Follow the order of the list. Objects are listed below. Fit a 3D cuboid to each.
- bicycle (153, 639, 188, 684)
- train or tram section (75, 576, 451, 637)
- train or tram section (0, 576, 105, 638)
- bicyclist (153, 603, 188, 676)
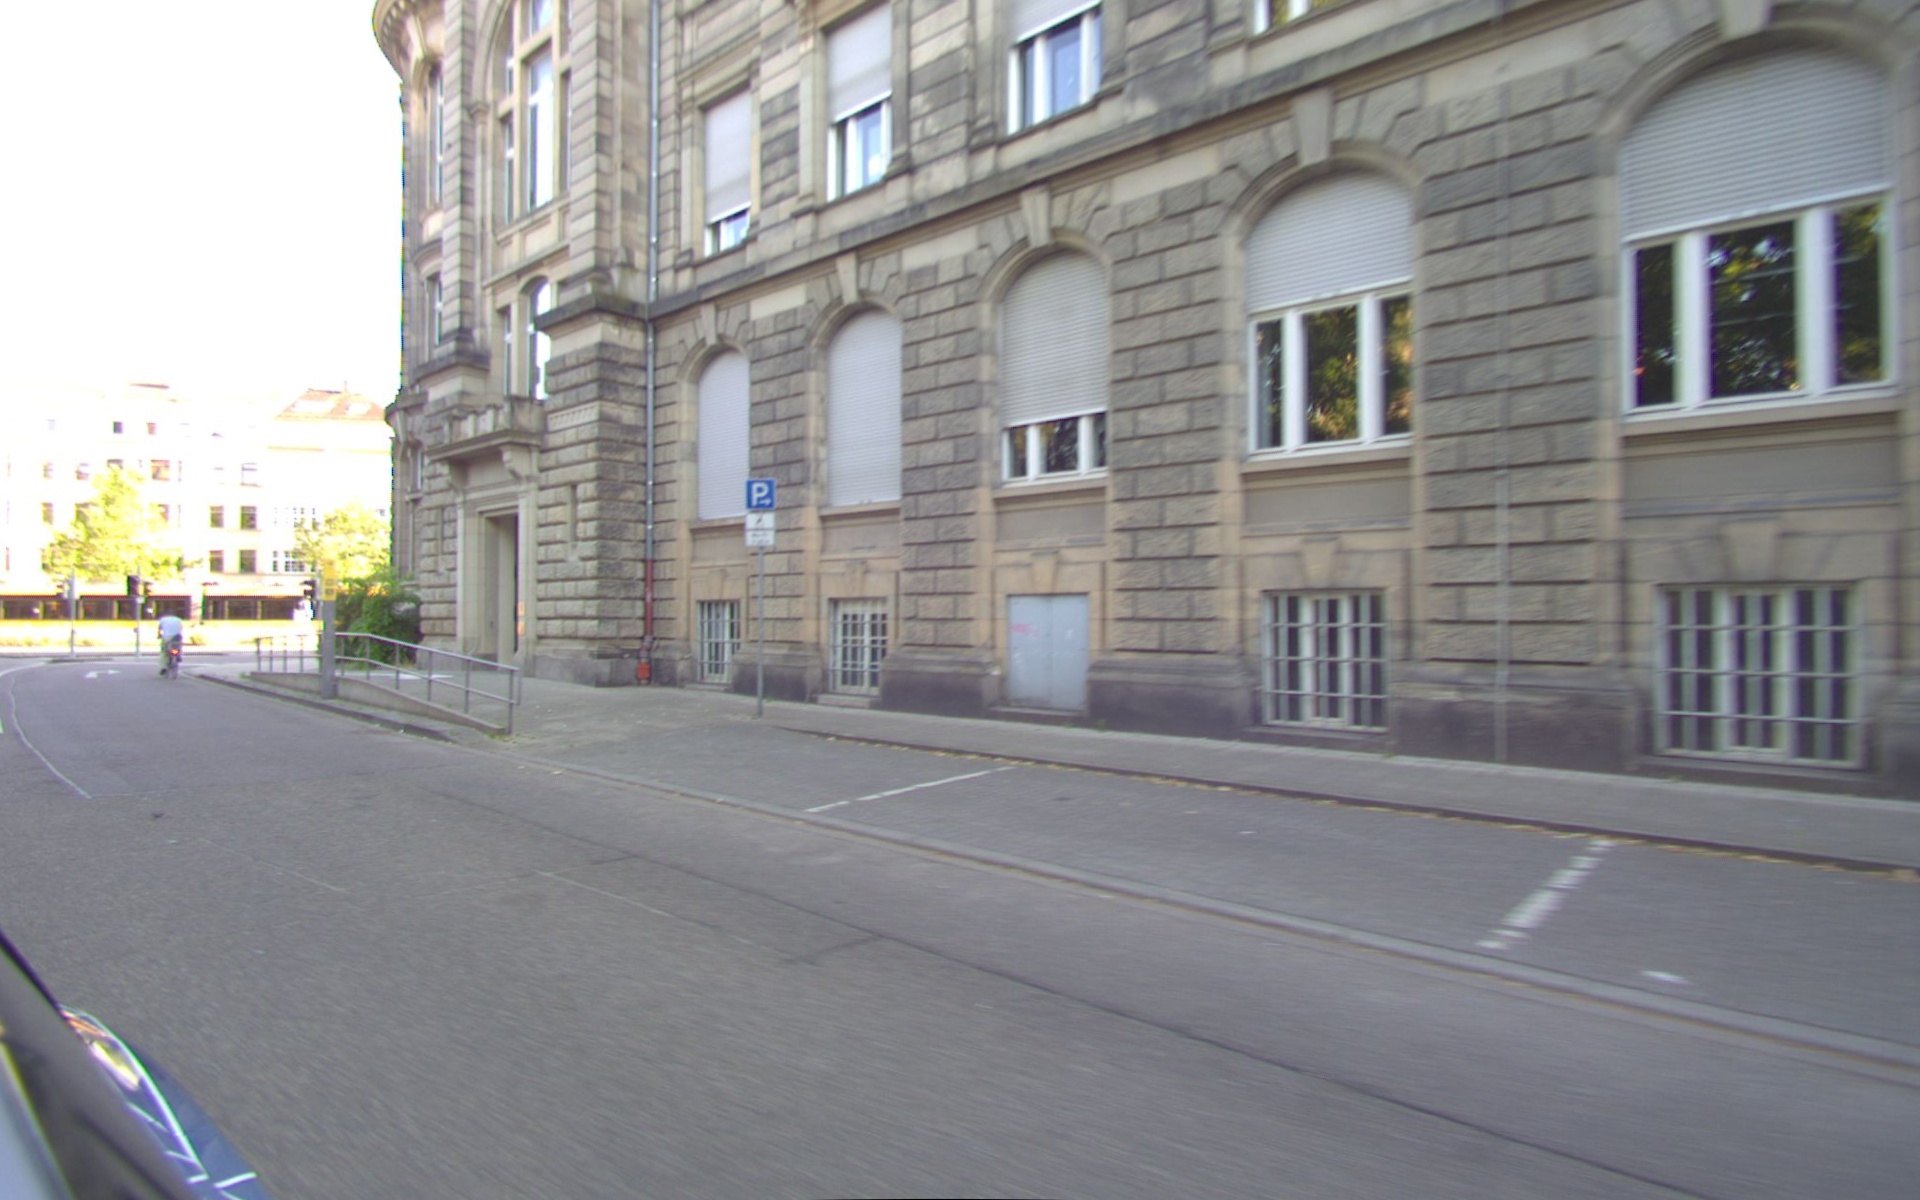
[{"bbox_3d":[-20.083,1.536,25.725,0.654,1.078,2.157,2,-2,-38],"label":"bicycle"},{"bbox_3d":[-42.776,0.507,63.045,19.604,3.586,3.129,0,-2,-11],"label":"train or tram section"},{"bbox_3d":[-60.976,0.402,59.254,17.188,3.586,3.130,0,-2,-12],"label":"train or tram section"},{"bbox_3d":[-20.097,1.009,25.758,0.637,1.821,0.782,2,-2,-39],"label":"bicyclist"}]
